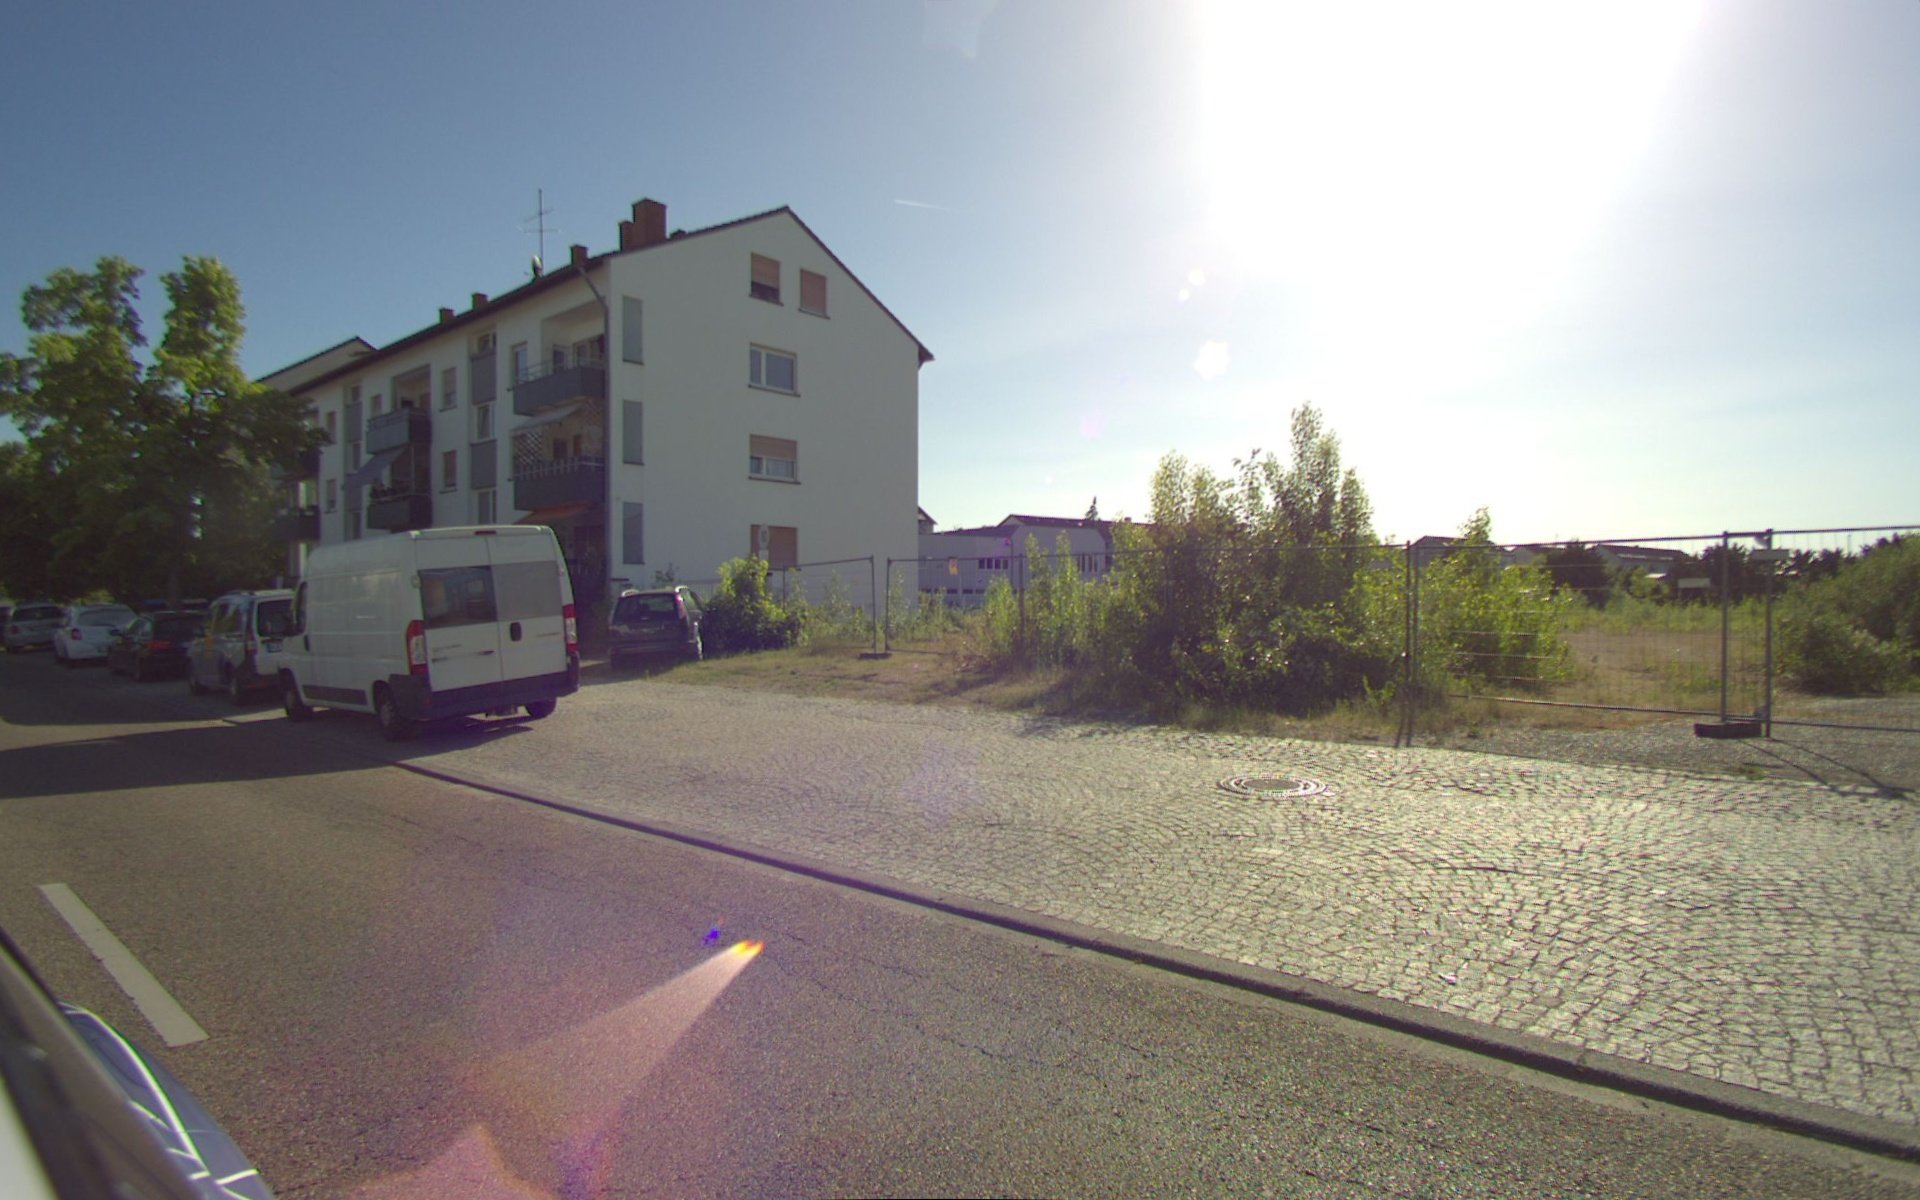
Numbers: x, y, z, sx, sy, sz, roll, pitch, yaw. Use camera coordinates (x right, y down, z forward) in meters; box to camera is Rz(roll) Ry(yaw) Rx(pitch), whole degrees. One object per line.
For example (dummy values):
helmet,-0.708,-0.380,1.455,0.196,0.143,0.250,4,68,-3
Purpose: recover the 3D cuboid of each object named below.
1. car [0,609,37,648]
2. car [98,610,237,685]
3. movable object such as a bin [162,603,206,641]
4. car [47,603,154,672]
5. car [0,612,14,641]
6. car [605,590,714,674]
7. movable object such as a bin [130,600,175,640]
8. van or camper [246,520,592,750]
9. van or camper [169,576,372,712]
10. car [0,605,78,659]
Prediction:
car,-40.482,1.212,42.618,4.540,1.504,1.705,-1,5,40
car,-17.419,0.972,22.179,4.311,1.446,1.593,-1,1,41
movable object such as a bin,-33.077,0.931,43.133,1.327,1.555,1.276,-1,-1,43
car,-22.401,0.923,26.318,3.908,1.577,1.674,-1,2,44
car,-53.310,1.482,55.595,1.637,1.505,3.915,-4,2,-40
car,-6.076,0.589,20.877,1.589,1.525,4.396,-1,0,-9
movable object such as a bin,-35.298,0.864,44.245,1.267,1.675,1.397,-1,-1,43
van or camper,-7.456,0.365,13.652,5.551,2.508,2.102,-1,3,40
van or camper,-12.017,0.676,17.545,4.278,2.028,1.858,-1,2,42
car,-31.674,1.039,34.673,3.909,1.604,1.703,0,5,44
